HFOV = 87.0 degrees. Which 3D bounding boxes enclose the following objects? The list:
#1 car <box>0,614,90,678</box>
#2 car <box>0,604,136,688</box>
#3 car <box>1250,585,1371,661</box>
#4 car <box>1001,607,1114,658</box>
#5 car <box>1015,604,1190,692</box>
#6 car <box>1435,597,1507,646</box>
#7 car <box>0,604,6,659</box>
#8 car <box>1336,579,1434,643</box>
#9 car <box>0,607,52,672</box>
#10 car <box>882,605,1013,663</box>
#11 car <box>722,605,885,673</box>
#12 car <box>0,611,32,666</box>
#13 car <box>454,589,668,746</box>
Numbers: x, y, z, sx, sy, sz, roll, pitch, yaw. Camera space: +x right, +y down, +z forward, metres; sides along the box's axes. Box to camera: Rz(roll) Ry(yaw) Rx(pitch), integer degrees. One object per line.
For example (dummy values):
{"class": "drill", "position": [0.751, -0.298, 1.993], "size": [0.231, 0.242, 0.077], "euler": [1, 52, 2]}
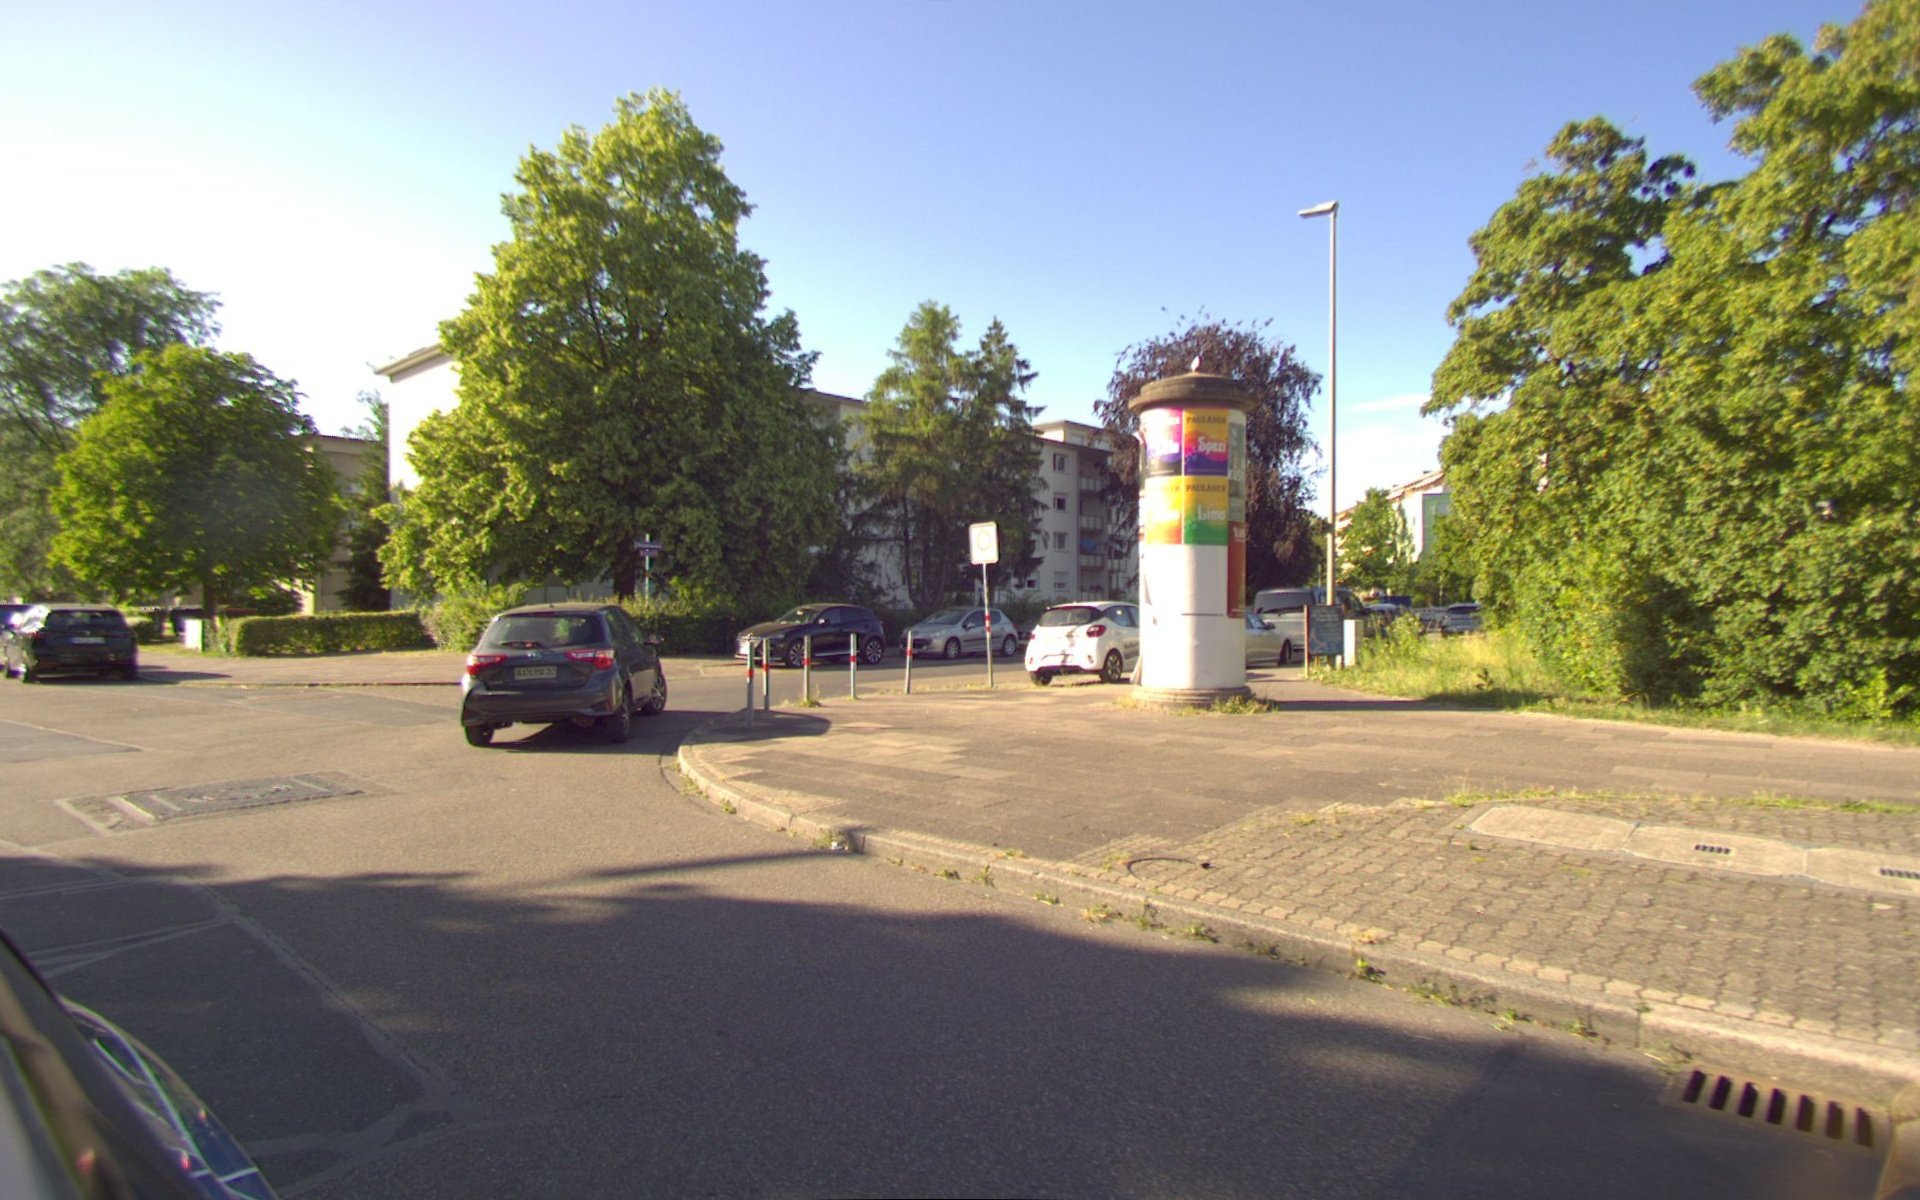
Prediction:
{"class": "car", "position": [-22.666, 1.108, 24.723], "size": [3.652, 1.448, 1.606], "euler": [-1, -3, 41]}
{"class": "car", "position": [-18.892, 0.907, 21.241], "size": [4.421, 1.586, 1.761], "euler": [-1, -1, 41]}
{"class": "car", "position": [9.415, 0.575, 27.002], "size": [1.736, 1.869, 4.288], "euler": [-1, -1, 38]}
{"class": "car", "position": [3.246, 1.043, 33.032], "size": [1.744, 1.554, 4.047], "euler": [0, -1, 38]}
{"class": "car", "position": [2.743, 0.840, 18.957], "size": [1.736, 1.473, 3.484], "euler": [0, -1, 39]}
{"class": "car", "position": [20.624, 0.834, 40.776], "size": [1.736, 1.869, 4.288], "euler": [-1, -1, 38]}
{"class": "car", "position": [-36.493, 1.138, 37.031], "size": [4.509, 1.956, 1.884], "euler": [-1, -3, 42]}
{"class": "car", "position": [13.409, 0.340, 31.808], "size": [1.736, 1.869, 4.288], "euler": [-1, -1, 38]}
{"class": "car", "position": [-26.426, 1.066, 27.763], "size": [3.647, 1.695, 1.794], "euler": [-1, -3, 41]}
{"class": "car", "position": [-0.294, 0.944, 29.165], "size": [1.744, 1.554, 3.876], "euler": [0, -1, 38]}
{"class": "car", "position": [-3.822, 0.941, 25.241], "size": [1.744, 1.554, 3.876], "euler": [0, -1, 38]}
{"class": "car", "position": [-30.646, 1.179, 31.714], "size": [4.166, 1.652, 1.710], "euler": [-1, -3, 40]}
{"class": "car", "position": [-4.585, 0.707, 12.203], "size": [1.628, 1.567, 4.010], "euler": [1, -1, -10]}
